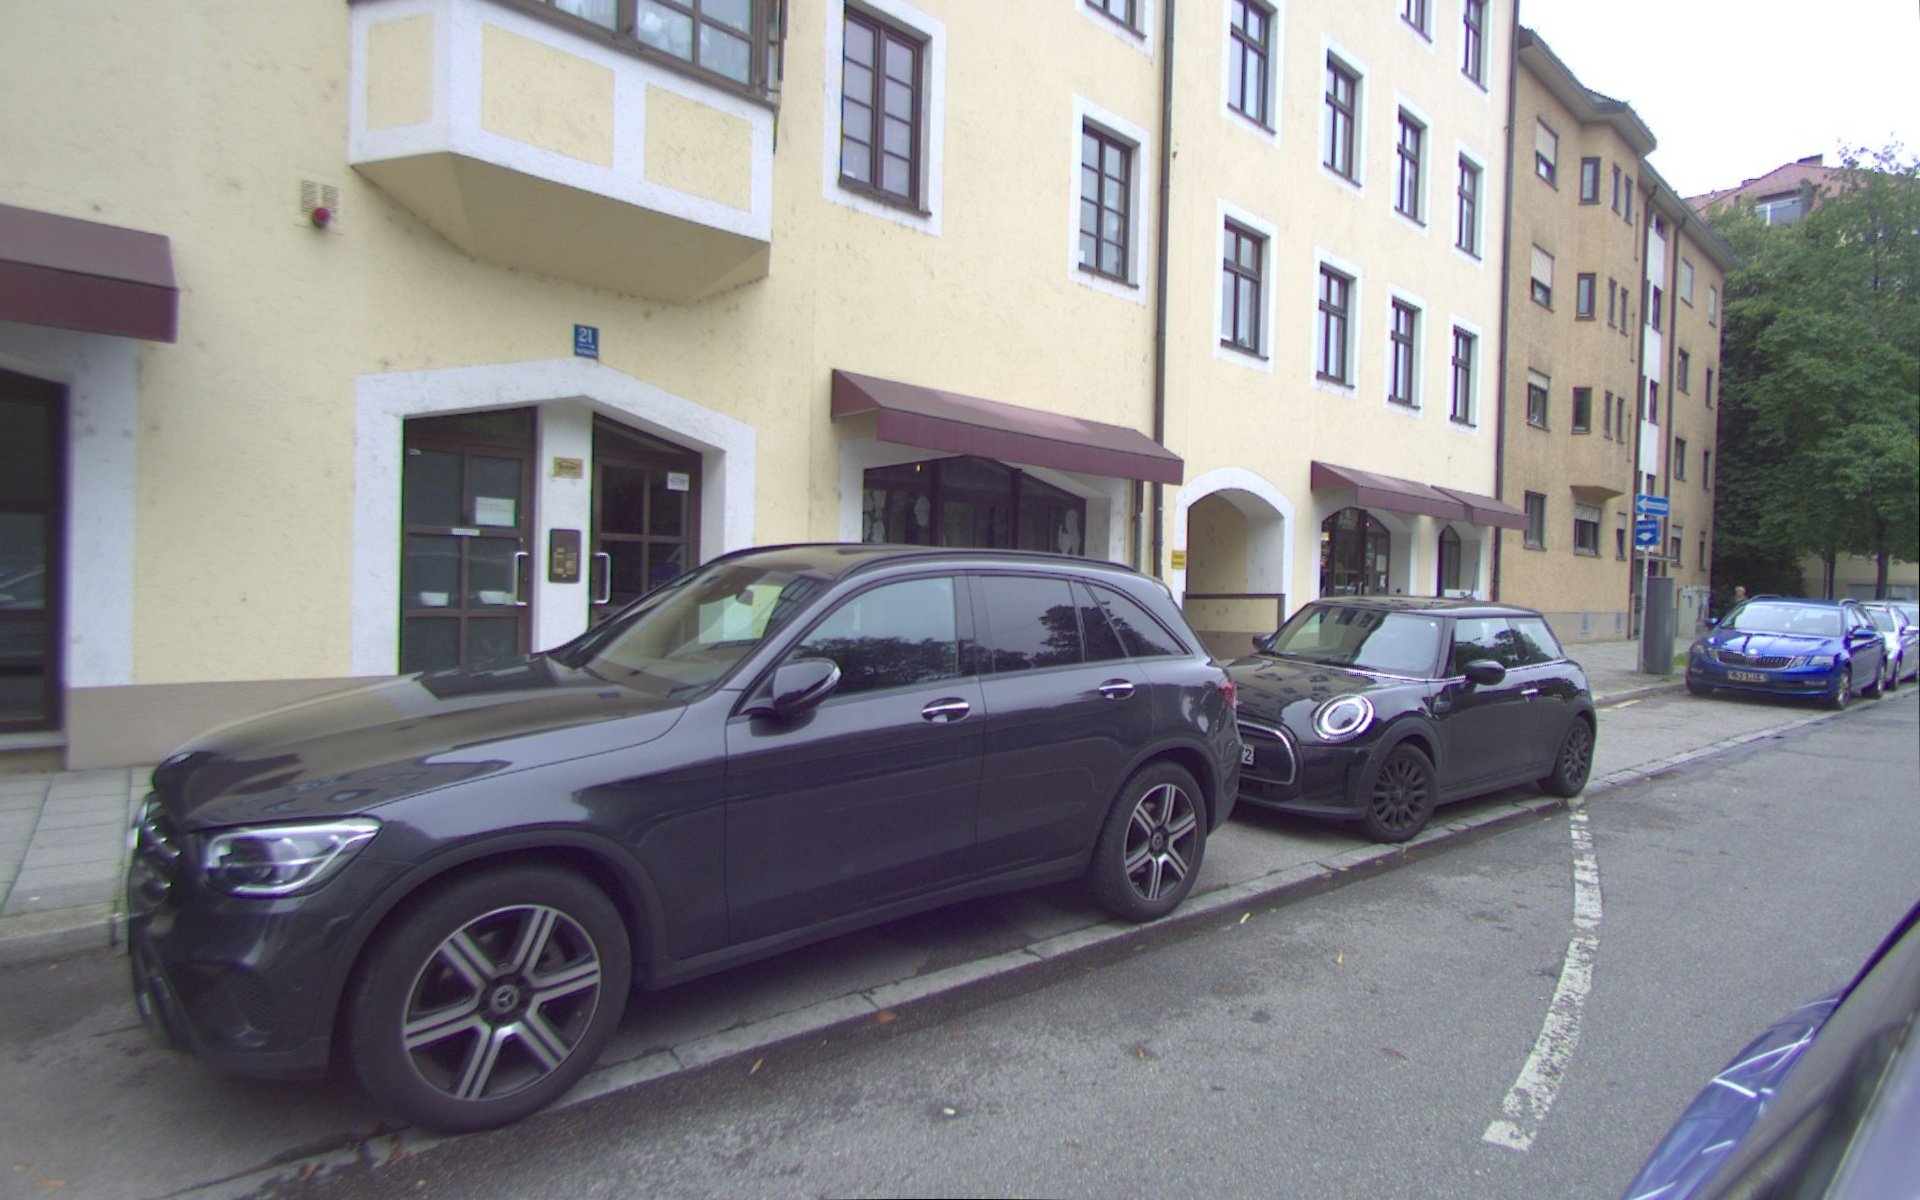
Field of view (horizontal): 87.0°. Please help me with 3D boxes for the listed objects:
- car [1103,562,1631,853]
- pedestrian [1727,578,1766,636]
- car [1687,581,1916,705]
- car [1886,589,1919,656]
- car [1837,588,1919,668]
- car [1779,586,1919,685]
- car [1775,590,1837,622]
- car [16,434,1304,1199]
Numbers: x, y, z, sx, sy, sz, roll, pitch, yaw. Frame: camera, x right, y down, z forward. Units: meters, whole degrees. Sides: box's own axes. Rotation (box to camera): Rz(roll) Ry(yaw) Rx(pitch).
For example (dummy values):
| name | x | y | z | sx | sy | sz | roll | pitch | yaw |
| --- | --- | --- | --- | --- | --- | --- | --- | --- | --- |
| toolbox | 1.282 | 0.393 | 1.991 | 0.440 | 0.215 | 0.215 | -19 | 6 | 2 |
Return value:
| name | x | y | z | sx | sy | sz | roll | pitch | yaw |
| --- | --- | --- | --- | --- | --- | --- | --- | --- | --- |
| car | 3.013 | 0.561 | 7.242 | 3.751 | 1.514 | 1.762 | 0 | 3 | -37 |
| pedestrian | 22.983 | 0.184 | 29.564 | 0.962 | 1.644 | 0.672 | -1 | 2 | -38 |
| car | 12.575 | 0.539 | 15.031 | 4.406 | 1.514 | 1.761 | 0 | 3 | -39 |
| car | 23.890 | 0.558 | 24.480 | 3.752 | 1.514 | 1.632 | 0 | 3 | -39 |
| car | 20.151 | 0.562 | 21.493 | 3.719 | 1.514 | 1.632 | 0 | 3 | -39 |
| car | 16.384 | 0.559 | 18.212 | 4.355 | 1.514 | 1.695 | 0 | 3 | -40 |
| car | 42.119 | 0.276 | 50.372 | 4.174 | 1.485 | 1.914 | 0 | 2 | -44 |
| car | -0.669 | 0.472 | 4.200 | 4.622 | 1.700 | 1.761 | 0 | 3 | -40 |
